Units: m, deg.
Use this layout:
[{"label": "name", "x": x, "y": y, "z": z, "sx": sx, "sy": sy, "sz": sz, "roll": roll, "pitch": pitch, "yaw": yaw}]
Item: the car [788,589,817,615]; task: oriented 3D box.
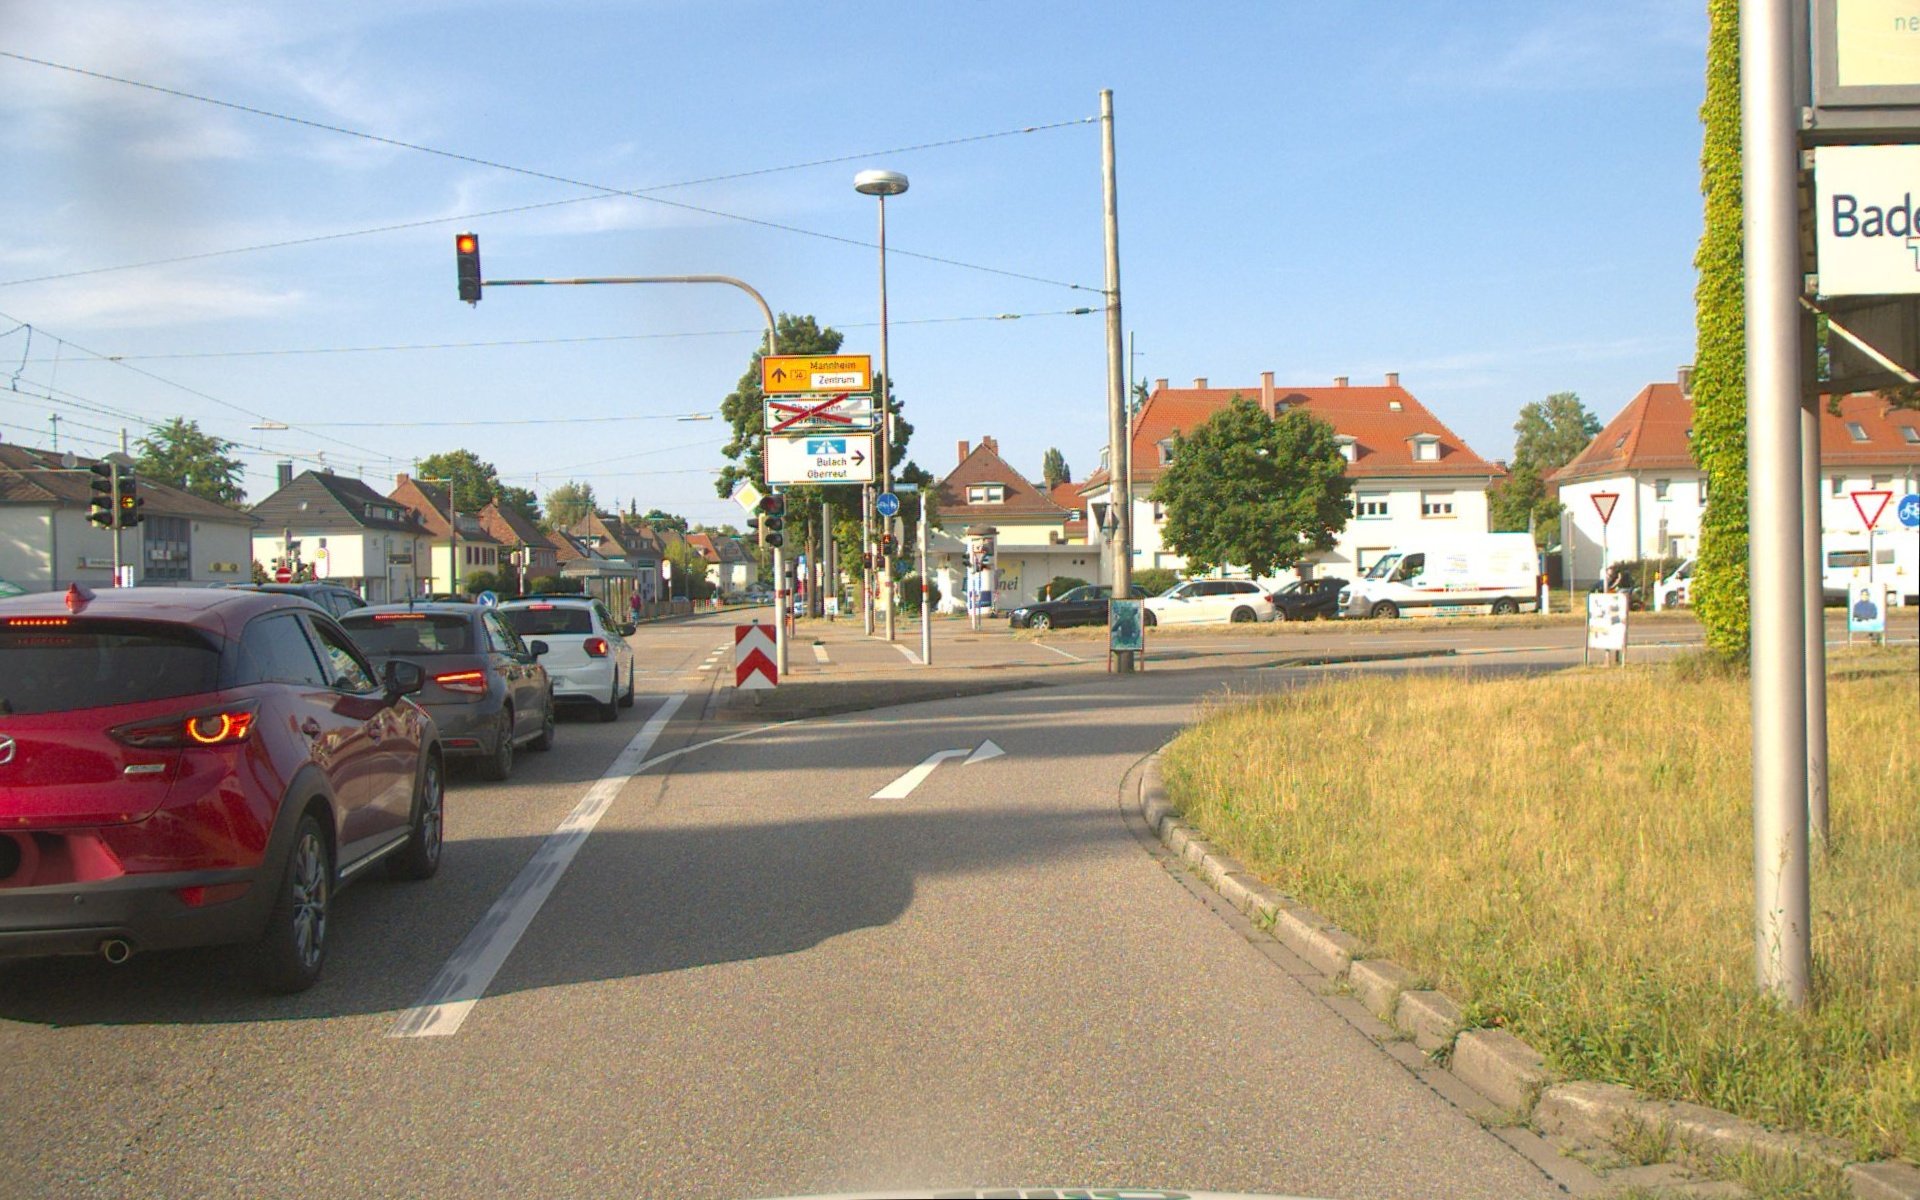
[{"label": "car", "x": -8.977, "y": 0.118, "z": 94.471, "sx": 1.642, "sy": 1.422, "sz": 3.996, "roll": 0, "pitch": 0, "yaw": -5}]

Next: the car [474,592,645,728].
[{"label": "car", "x": -4.907, "y": 0.668, "z": 20.706, "sx": 1.625, "sy": 1.468, "sz": 4.007, "roll": -2, "pitch": 1, "yaw": -8}]

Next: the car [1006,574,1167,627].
[{"label": "car", "x": 3.890, "y": 0.009, "z": 51.127, "sx": 4.730, "sy": 1.436, "sz": 1.714, "roll": -2, "pitch": 0, "yaw": -5}]

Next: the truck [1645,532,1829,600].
[{"label": "truck", "x": 30.893, "y": -1.332, "z": 65.952, "sx": 2.257, "sy": 2.568, "sz": 6.264, "roll": -2, "pitch": 1, "yaw": -40}]

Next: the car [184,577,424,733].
[{"label": "car", "x": -8.073, "y": 0.592, "z": 20.812, "sx": 1.477, "sy": 1.680, "sz": 4.739, "roll": -2, "pitch": 1, "yaw": -5}]

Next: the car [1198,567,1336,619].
[{"label": "car", "x": 9.560, "y": -0.212, "z": 51.631, "sx": 3.909, "sy": 1.478, "sz": 1.714, "roll": -2, "pitch": 0, "yaw": -5}]

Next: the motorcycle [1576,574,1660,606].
[{"label": "motorcycle", "x": 19.237, "y": -0.294, "z": 48.350, "sx": 2.228, "sy": 0.881, "sz": 0.690, "roll": -2, "pitch": 0, "yaw": -7}]

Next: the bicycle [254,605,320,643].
[{"label": "bicycle", "x": -24.170, "y": 0.857, "z": 59.442, "sx": 2.039, "sy": 1.371, "sz": 1.104, "roll": 0, "pitch": -1, "yaw": -15}]

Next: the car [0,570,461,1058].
[{"label": "car", "x": -3.409, "y": 0.693, "z": 7.363, "sx": 1.674, "sy": 1.579, "sz": 3.970, "roll": -1, "pitch": 0, "yaw": -8}]

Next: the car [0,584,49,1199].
[{"label": "car", "x": -2.670, "y": 0.775, "z": 1.590, "sx": 1.709, "sy": 1.531, "sz": 4.215, "roll": -2, "pitch": 1, "yaw": -8}]

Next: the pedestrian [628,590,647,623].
[{"label": "pedestrian", "x": -15.054, "y": 0.323, "z": 77.228, "sx": 0.738, "sy": 1.525, "sz": 0.826, "roll": 0, "pitch": -1, "yaw": -4}]

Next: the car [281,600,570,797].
[{"label": "car", "x": -4.554, "y": 0.749, "z": 14.623, "sx": 1.610, "sy": 1.421, "sz": 3.822, "roll": -2, "pitch": 1, "yaw": -6}]

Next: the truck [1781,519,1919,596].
[{"label": "truck", "x": 36.795, "y": -1.727, "z": 67.088, "sx": 5.962, "sy": 2.904, "sz": 1.887, "roll": -2, "pitch": 0, "yaw": 39}]

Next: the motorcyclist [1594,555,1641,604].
[{"label": "motorcyclist", "x": 19.212, "y": -0.599, "z": 48.341, "sx": 1.045, "sy": 1.375, "sz": 0.679, "roll": -2, "pitch": 0, "yaw": -7}]

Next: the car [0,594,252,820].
[{"label": "car", "x": -7.476, "y": 0.746, "z": 13.594, "sx": 1.666, "sy": 1.534, "sz": 4.549, "roll": -1, "pitch": 1, "yaw": -5}]

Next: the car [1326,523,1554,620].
[{"label": "car", "x": 14.067, "y": -0.839, "z": 48.634, "sx": 6.088, "sy": 2.628, "sz": 1.998, "roll": -2, "pitch": 0, "yaw": -6}]

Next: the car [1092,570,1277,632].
[{"label": "car", "x": 6.446, "y": 0.028, "z": 47.752, "sx": 4.996, "sy": 1.590, "sz": 1.838, "roll": -2, "pitch": 0, "yaw": -5}]

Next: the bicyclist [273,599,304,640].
[{"label": "bicyclist", "x": -24.125, "y": 0.699, "z": 59.447, "sx": 0.869, "sy": 1.456, "sz": 1.132, "roll": 0, "pitch": -1, "yaw": -15}]
